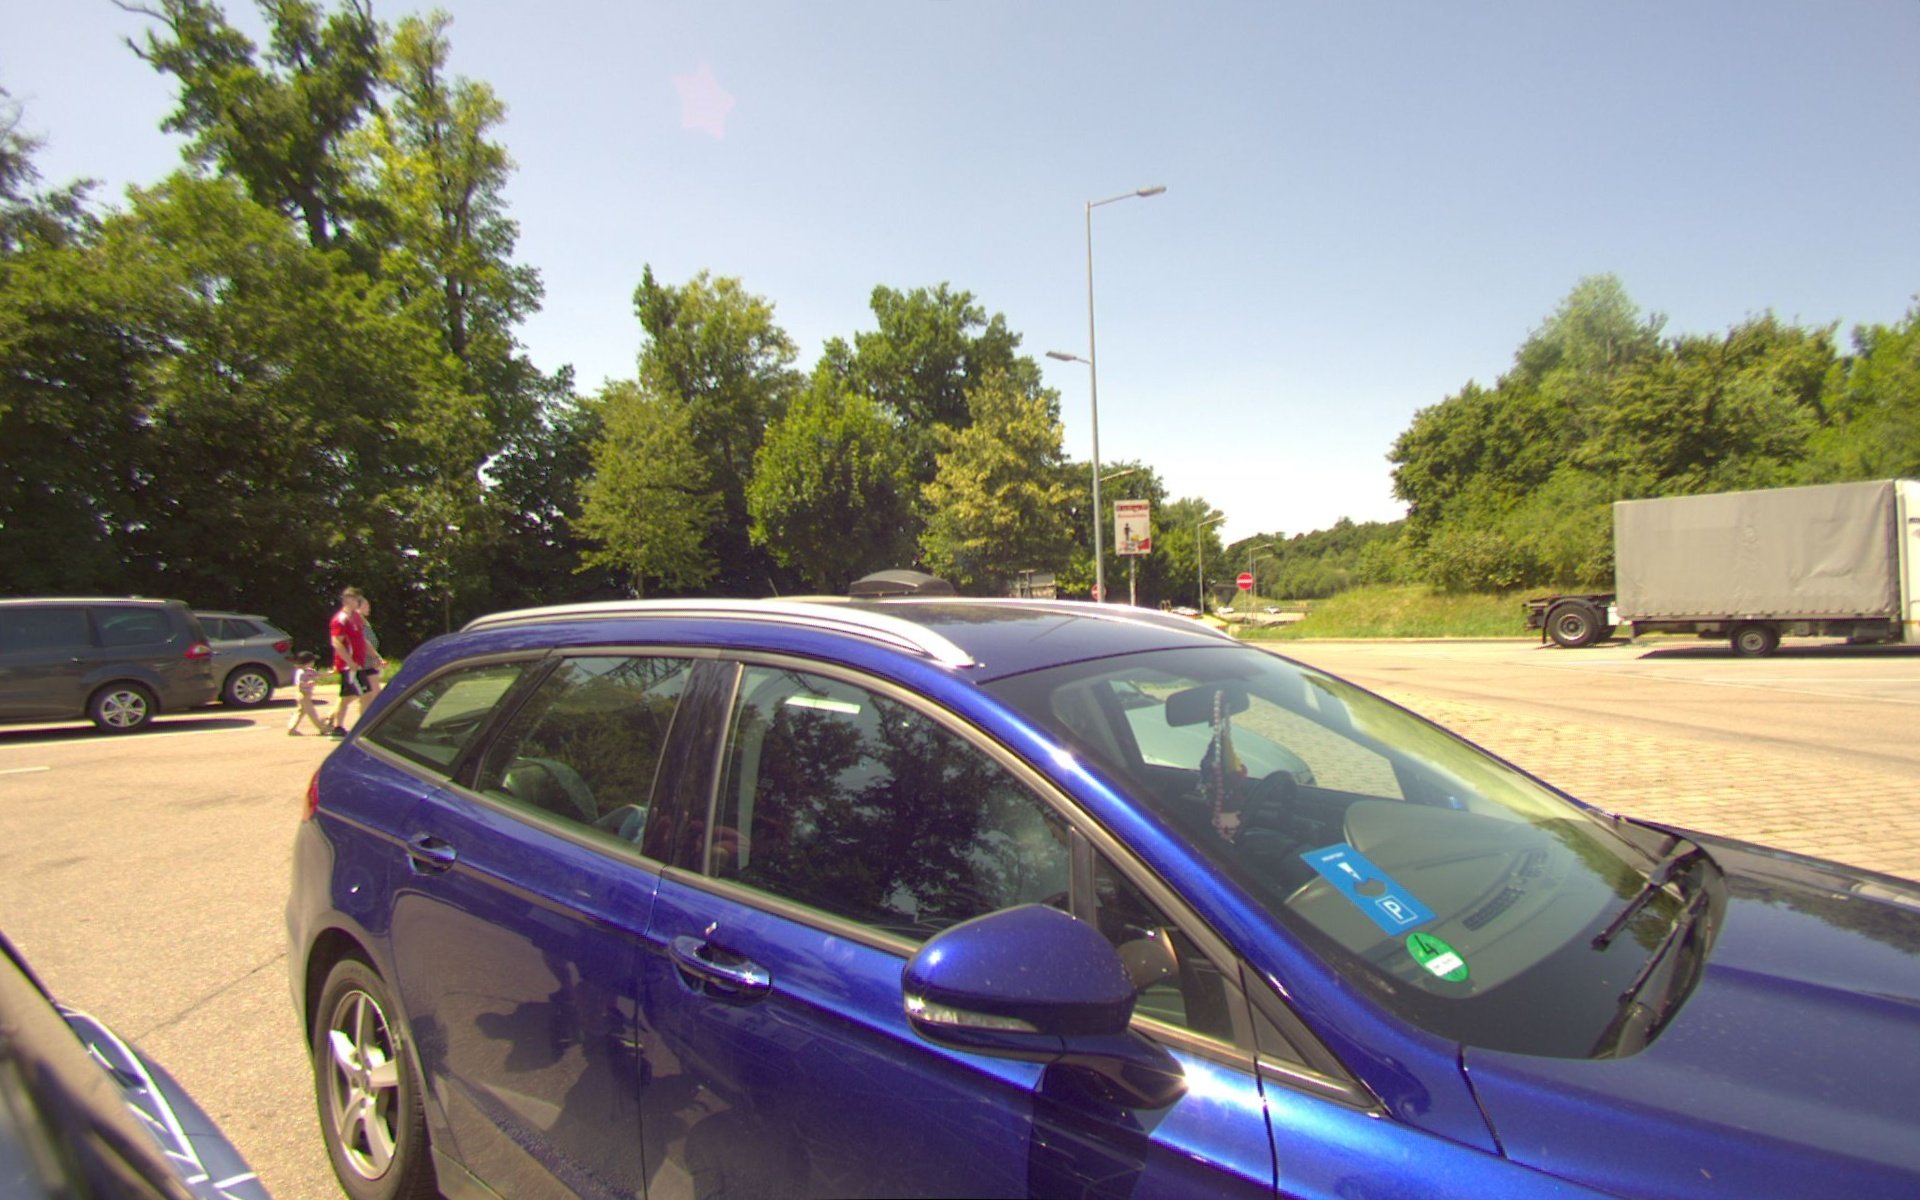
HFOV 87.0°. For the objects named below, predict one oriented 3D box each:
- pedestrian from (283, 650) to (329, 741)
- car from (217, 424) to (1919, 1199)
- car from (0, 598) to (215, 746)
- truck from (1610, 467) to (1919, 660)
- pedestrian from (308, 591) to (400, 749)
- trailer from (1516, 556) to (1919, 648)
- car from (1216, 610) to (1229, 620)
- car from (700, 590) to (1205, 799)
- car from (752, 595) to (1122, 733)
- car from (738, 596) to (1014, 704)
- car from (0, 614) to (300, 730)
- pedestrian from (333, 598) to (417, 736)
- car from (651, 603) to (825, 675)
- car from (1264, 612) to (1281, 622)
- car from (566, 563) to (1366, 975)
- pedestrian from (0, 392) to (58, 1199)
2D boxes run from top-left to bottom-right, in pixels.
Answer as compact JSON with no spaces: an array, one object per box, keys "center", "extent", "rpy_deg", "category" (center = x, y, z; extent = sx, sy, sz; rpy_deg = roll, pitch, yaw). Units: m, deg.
[{"center":[-7.932,1.140,12.286],"extent":[0.427,1.052,0.441],"rpy_deg":[-1,-1,-28],"category":"pedestrian"},{"center":[0.241,0.661,2.141],"extent":[4.490,1.502,1.851],"rpy_deg":[-3,0,40],"category":"car"},{"center":[-11.954,0.858,12.304],"extent":[4.553,1.725,1.741],"rpy_deg":[0,-1,-41],"category":"car"},{"center":[16.816,-0.656,18.967],"extent":[7.295,3.259,2.709],"rpy_deg":[-4,-1,43],"category":"truck"},{"center":[-6.997,0.778,11.715],"extent":[0.819,1.746,0.678],"rpy_deg":[-1,-1,-24],"category":"pedestrian"},{"center":[17.242,0.124,23.394],"extent":[7.295,1.701,2.235],"rpy_deg":[-4,-1,43],"category":"trailer"},{"center":[52.537,3.017,202.497],"extent":[1.852,1.796,3.996],"rpy_deg":[-1,0,3],"category":"car"},{"center":[-0.257,0.749,9.214],"extent":[4.490,1.437,1.754],"rpy_deg":[-3,-1,40],"category":"car"},{"center":[-0.397,0.774,12.761],"extent":[4.485,1.437,1.756],"rpy_deg":[-3,-1,36],"category":"car"},{"center":[-1.489,0.826,16.861],"extent":[4.485,1.562,1.756],"rpy_deg":[-3,-1,36],"category":"car"},{"center":[-12.608,1.003,15.469],"extent":[1.687,1.515,3.943],"rpy_deg":[-1,0,43],"category":"car"},{"center":[-7.438,0.822,12.862],"extent":[0.820,1.676,0.677],"rpy_deg":[0,-1,-38],"category":"pedestrian"},{"center":[-5.729,0.946,26.698],"extent":[1.991,1.725,4.572],"rpy_deg":[-1,0,28],"category":"car"},{"center":[55.108,2.991,178.434],"extent":[1.852,1.796,3.996],"rpy_deg":[-1,0,3],"category":"car"},{"center":[-0.270,0.694,5.839],"extent":[4.490,1.511,1.754],"rpy_deg":[-3,-1,40],"category":"car"},{"center":[-2.114,0.560,1.655],"extent":[0.850,1.847,0.863],"rpy_deg":[-1,0,-35],"category":"pedestrian"}]
